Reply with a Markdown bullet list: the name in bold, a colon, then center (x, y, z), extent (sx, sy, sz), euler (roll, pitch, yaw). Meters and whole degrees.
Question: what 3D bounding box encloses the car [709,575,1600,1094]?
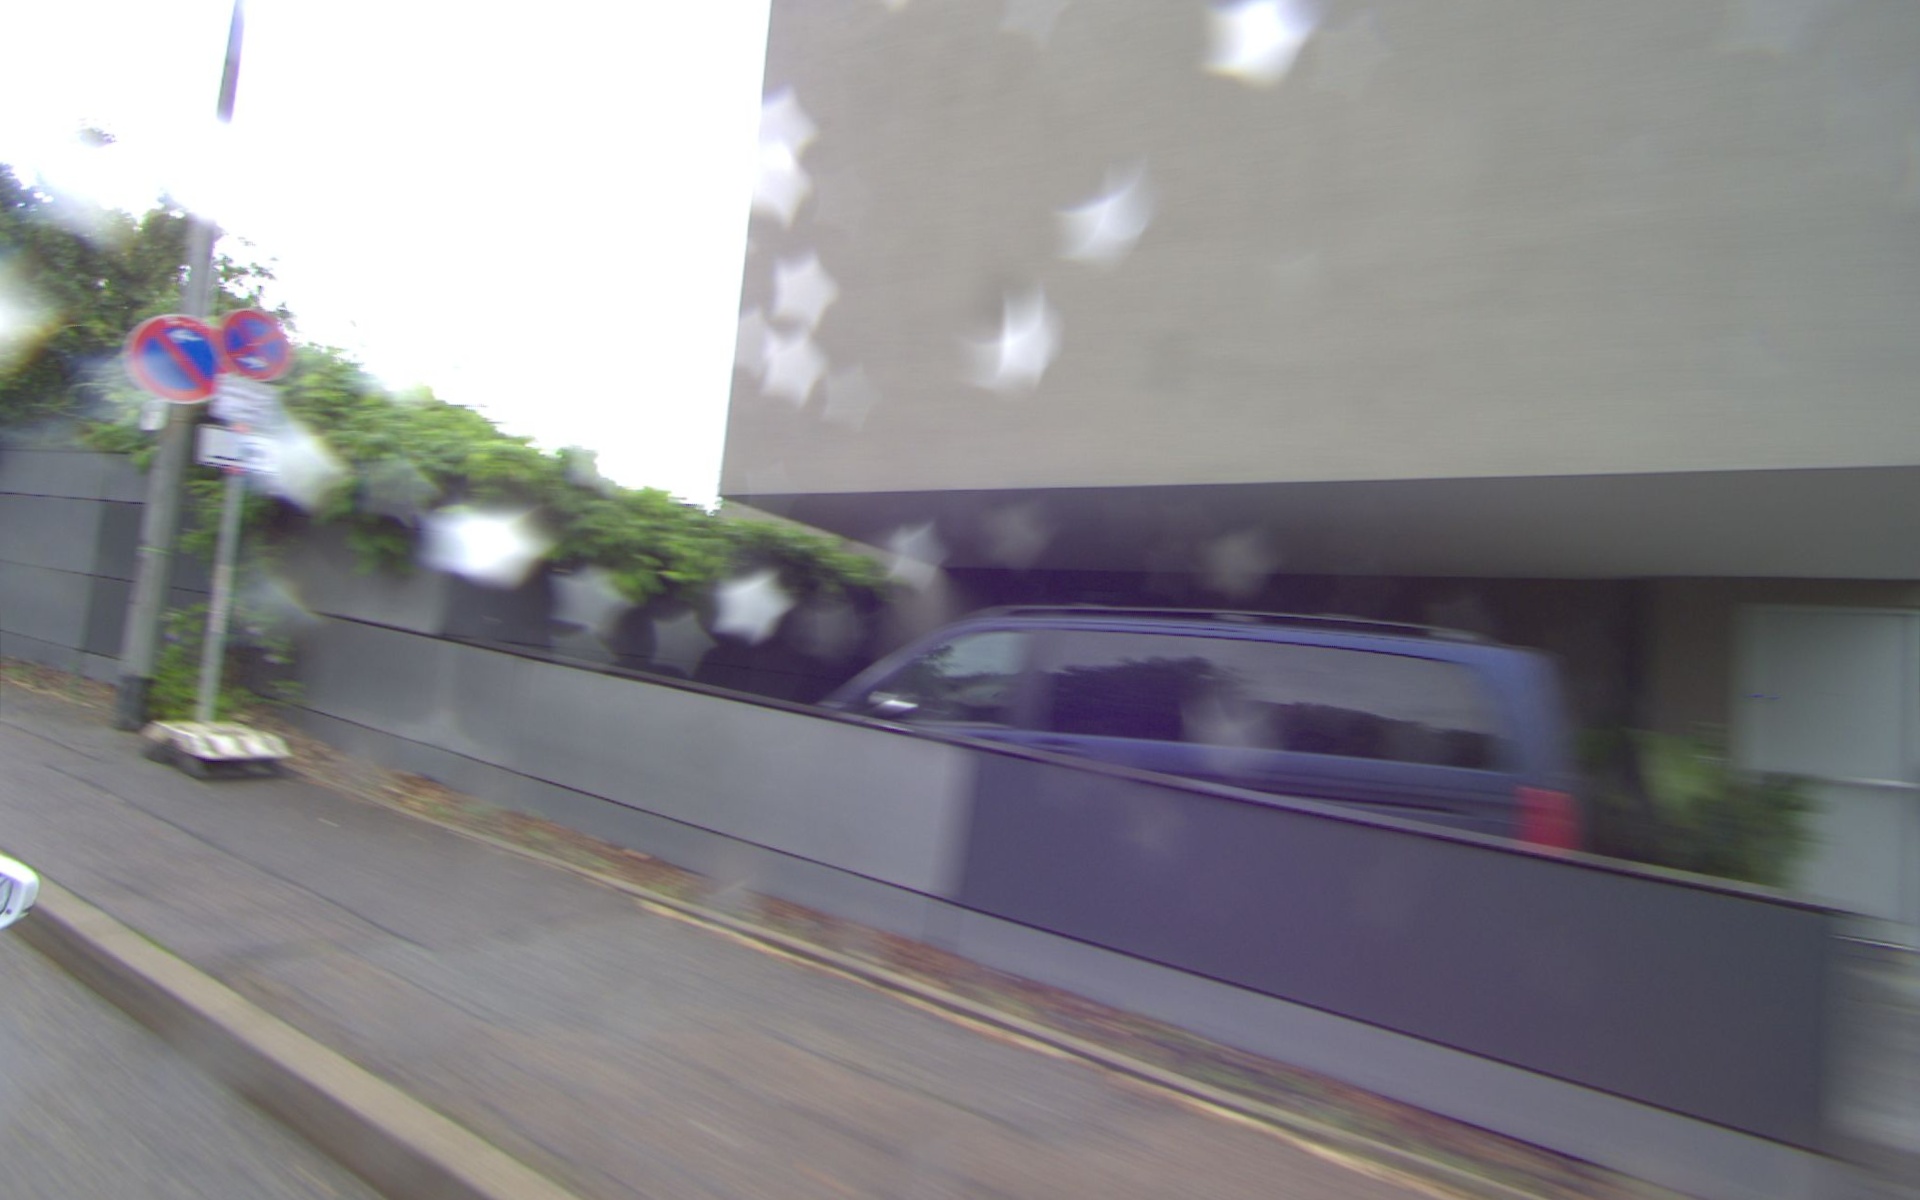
- **car**: center (0.998, 1.018, 6.143), extent (4.694, 1.962, 1.998), euler (3, -3, 30)
